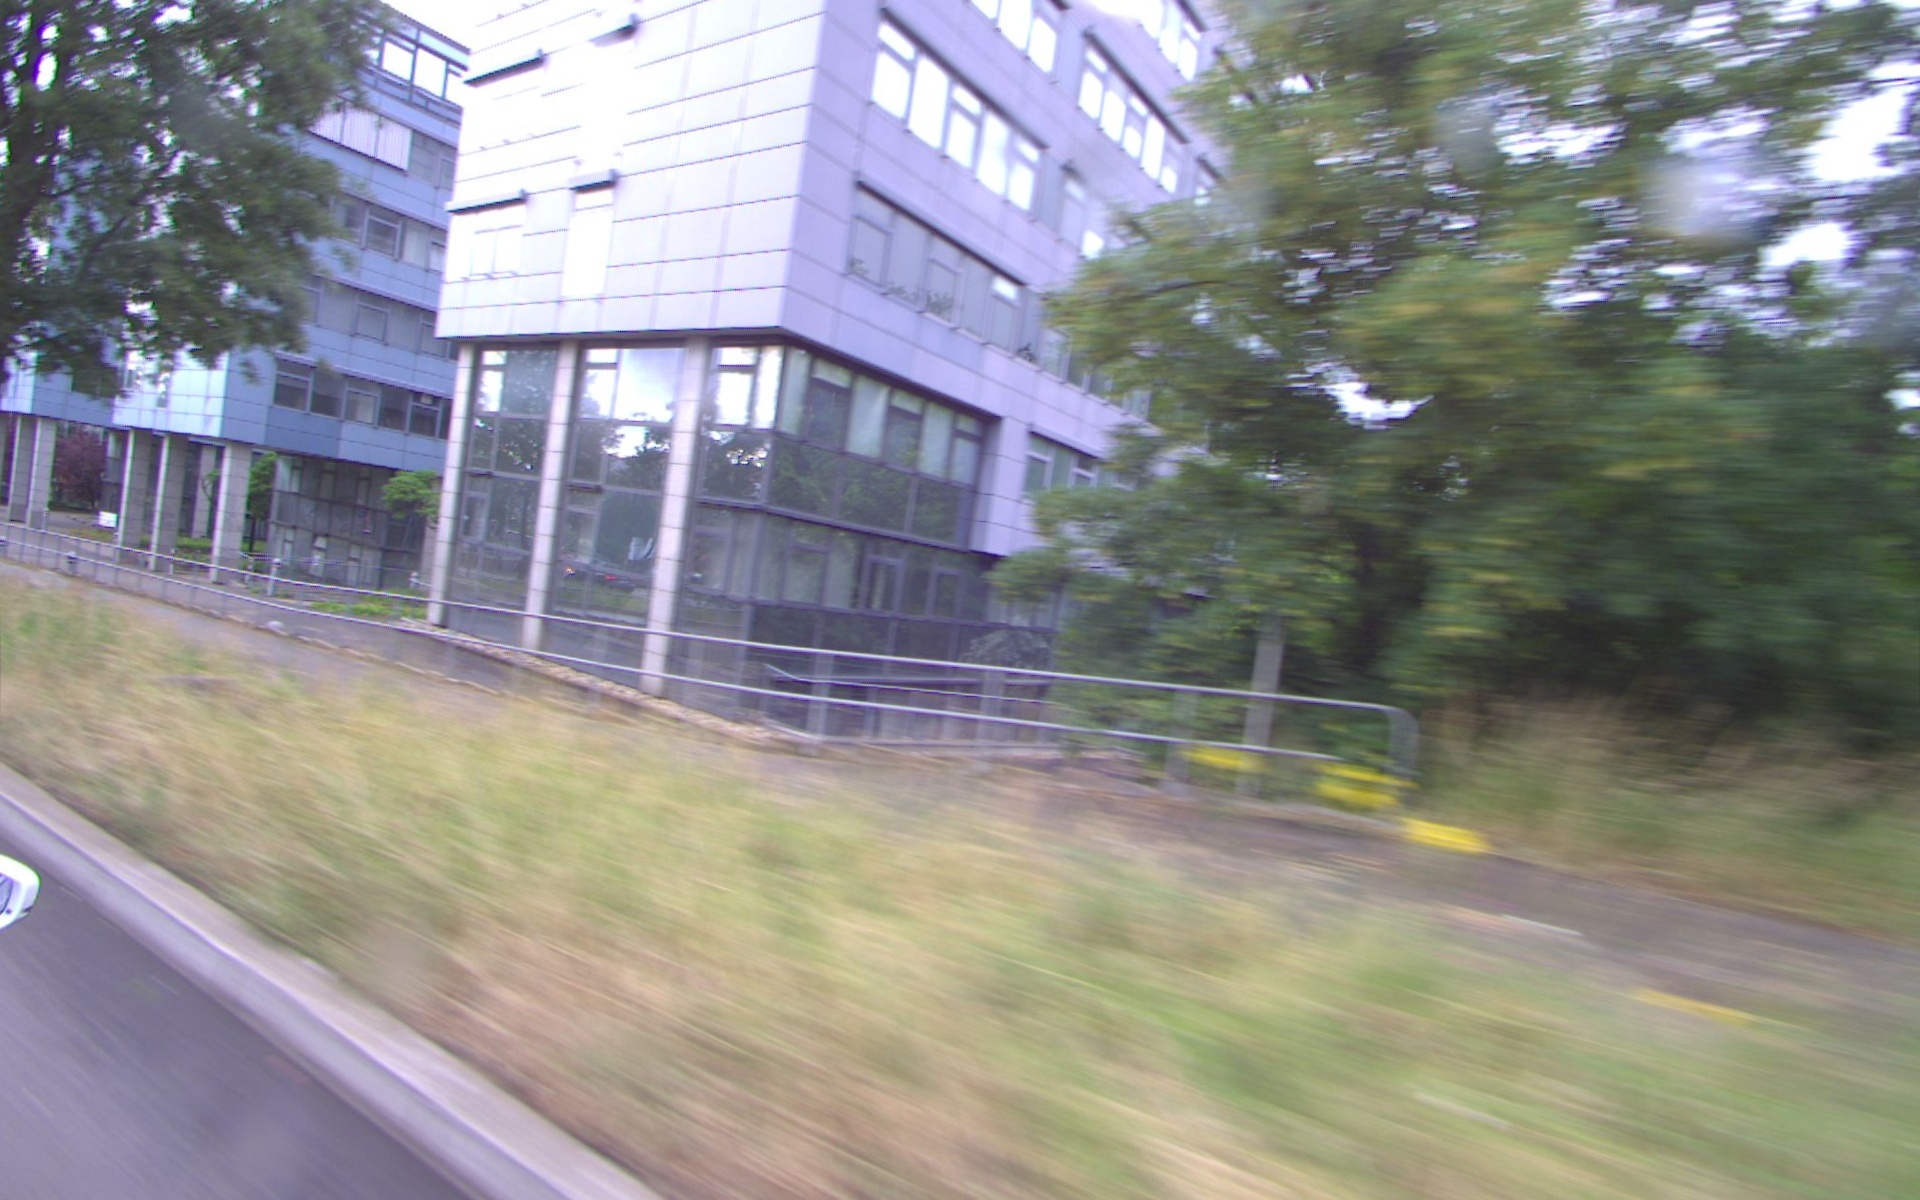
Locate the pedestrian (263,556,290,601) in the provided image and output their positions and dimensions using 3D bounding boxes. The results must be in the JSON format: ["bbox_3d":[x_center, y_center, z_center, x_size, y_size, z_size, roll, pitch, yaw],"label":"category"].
[{"bbox_3d":[-22.965,-0.730,33.799,0.450,1.425,0.503,7,0,34],"label":"pedestrian"}]
